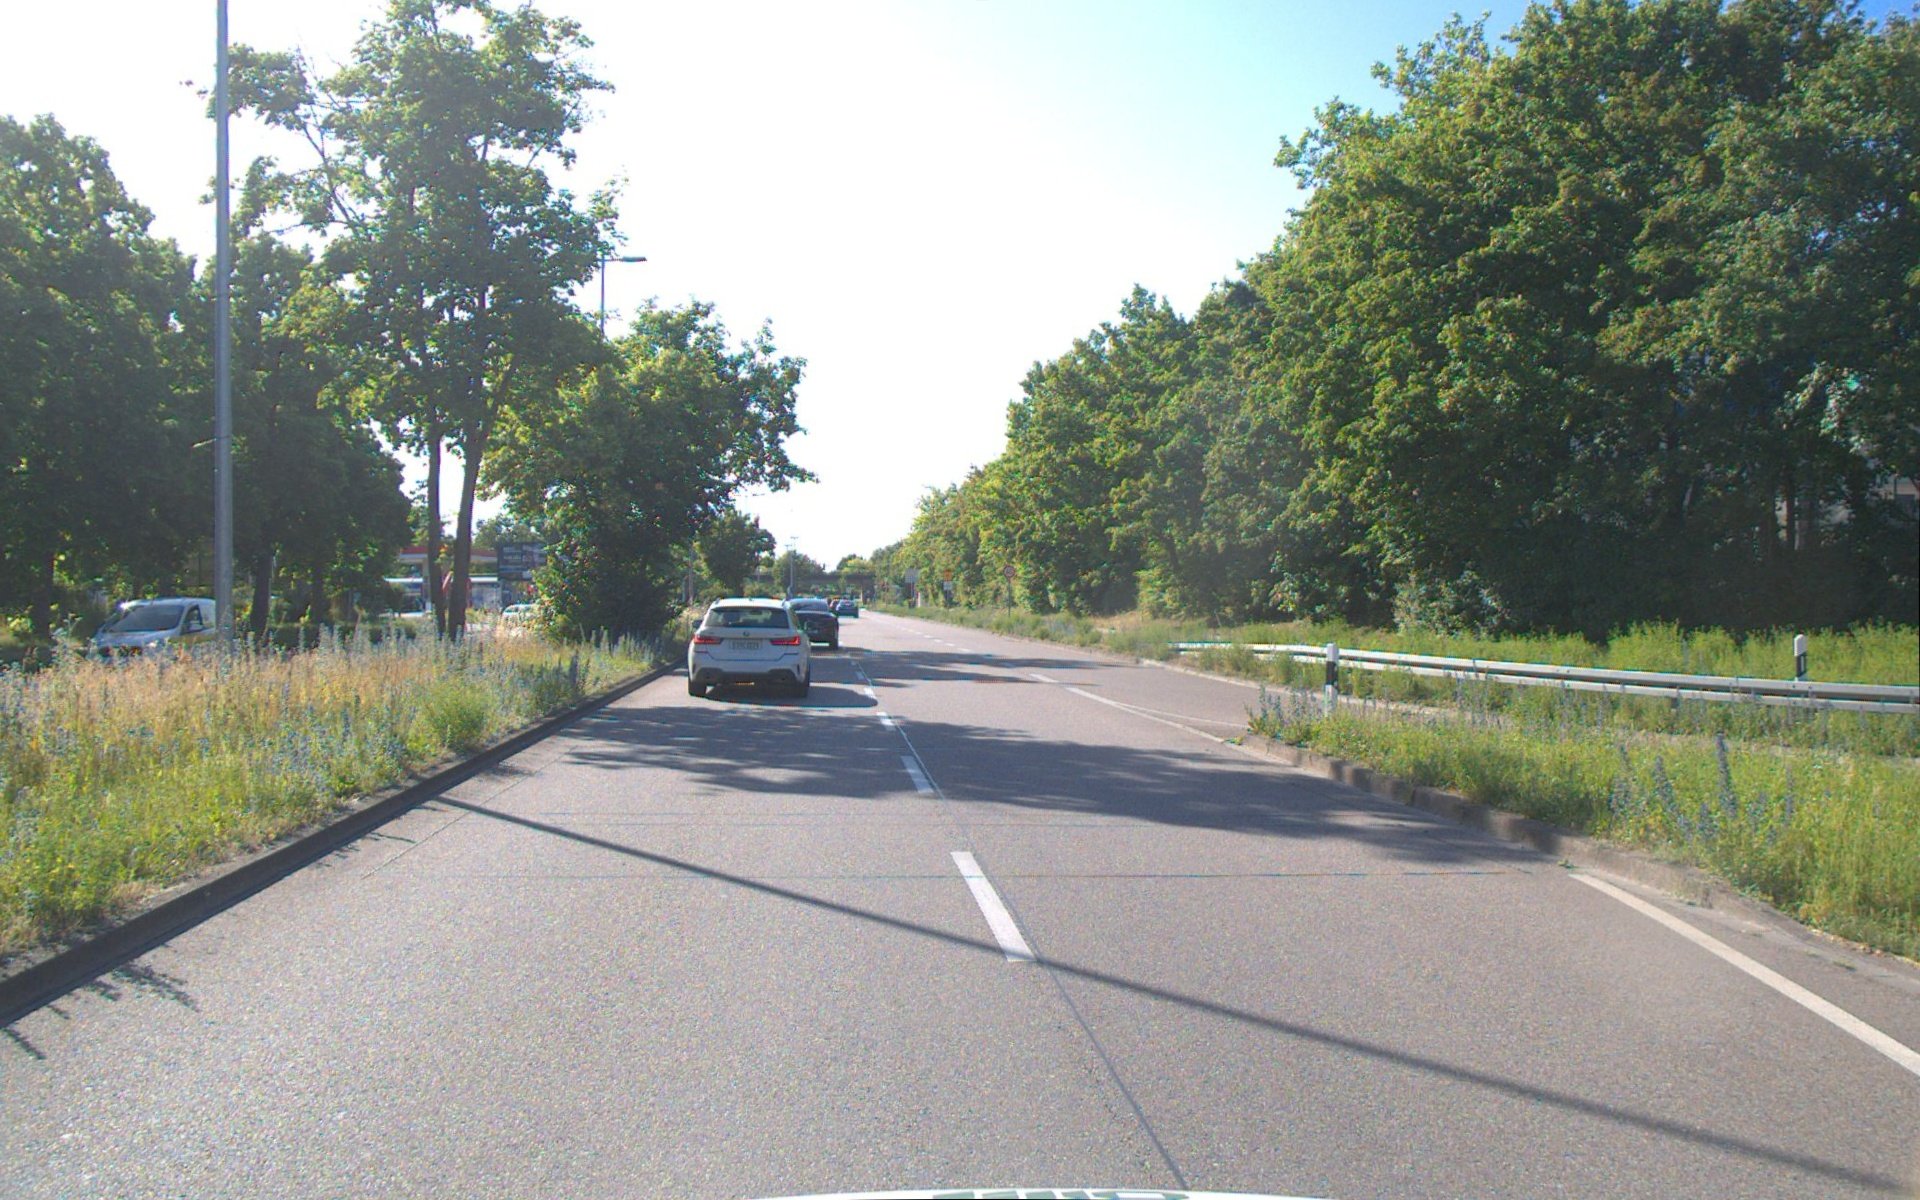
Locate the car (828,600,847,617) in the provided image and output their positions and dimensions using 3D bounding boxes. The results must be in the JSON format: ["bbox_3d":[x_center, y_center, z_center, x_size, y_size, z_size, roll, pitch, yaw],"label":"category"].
[{"bbox_3d":[-11.987,0.819,161.873,1.738,1.583,3.827,-1,0,-7],"label":"car"}]

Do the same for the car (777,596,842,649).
[{"bbox_3d":[-4.510,0.624,49.587,1.825,1.480,4.542,-1,0,-5],"label":"car"}]

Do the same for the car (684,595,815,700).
[{"bbox_3d":[-3.232,0.678,26.087,1.825,1.480,4.543,1,0,-5],"label":"car"}]

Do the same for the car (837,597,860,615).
[{"bbox_3d":[-9.291,0.488,137.934,1.825,1.525,4.331,0,0,-5],"label":"car"}]

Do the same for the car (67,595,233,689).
[{"bbox_3d":[-16.202,0.788,33.298,1.673,1.777,4.160,0,0,-6],"label":"car"}]

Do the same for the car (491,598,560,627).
[{"bbox_3d":[-25.989,0.763,98.885,4.044,1.691,1.884,-1,0,38],"label":"car"}]
